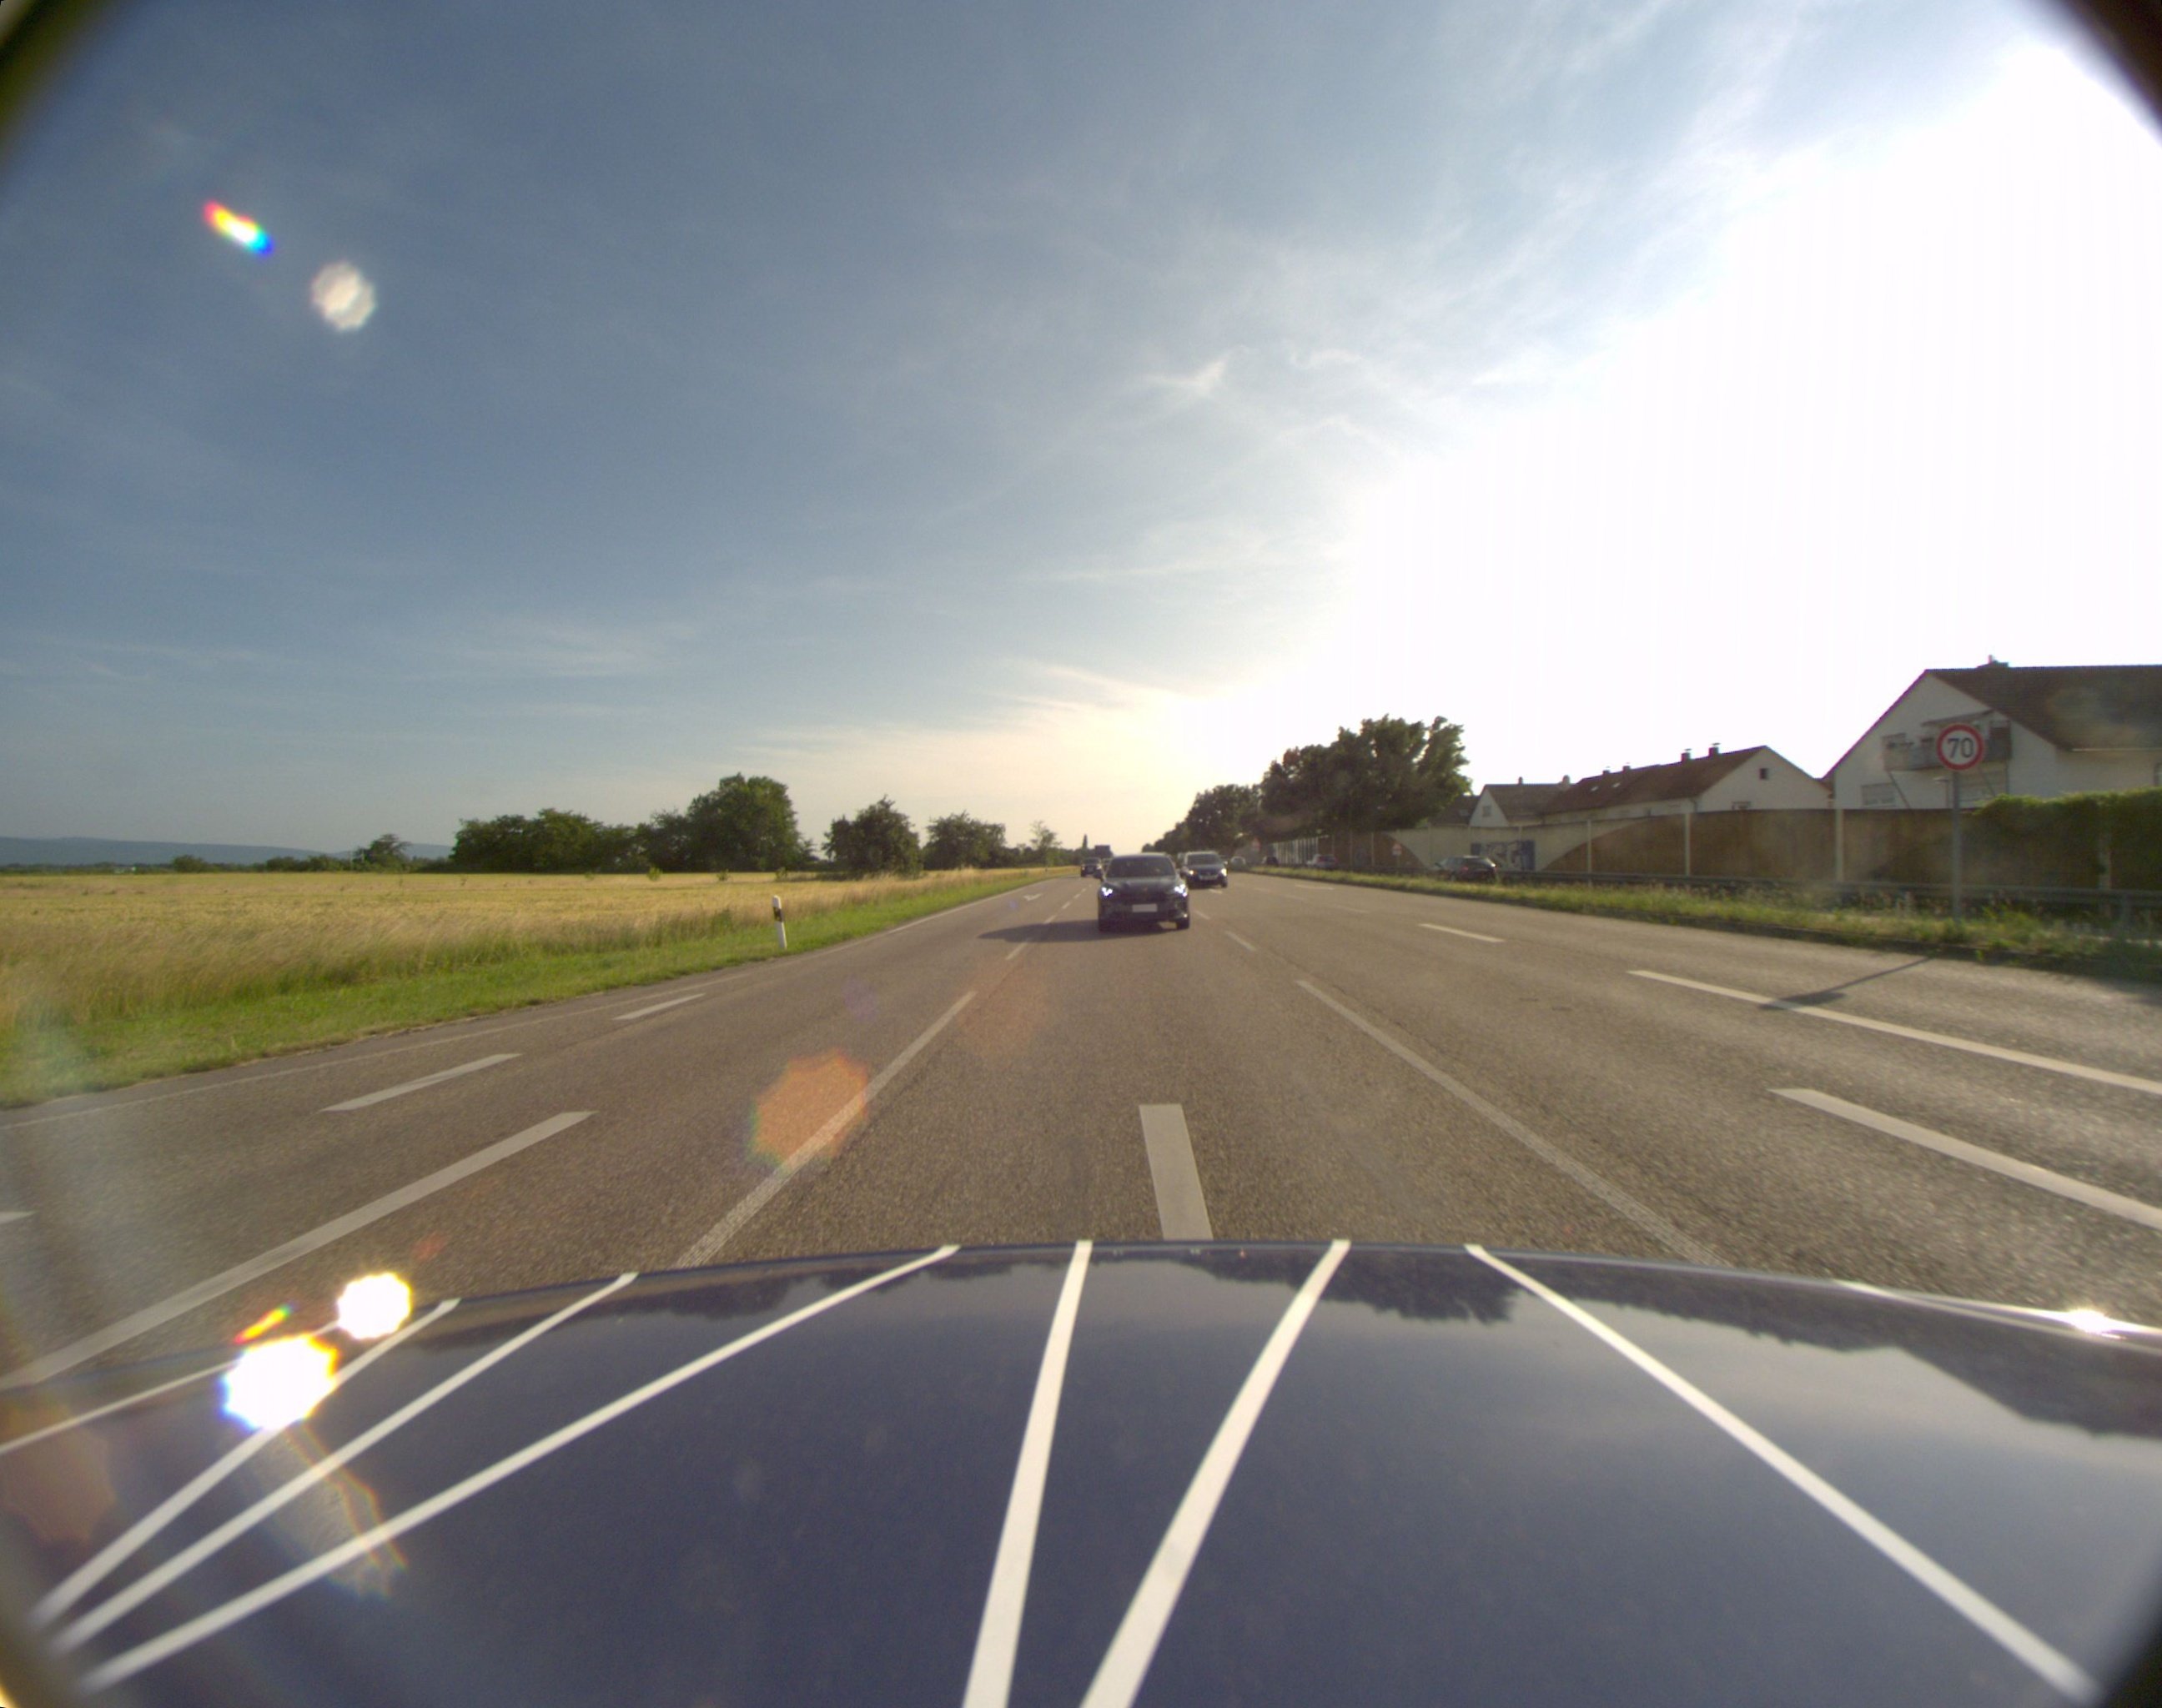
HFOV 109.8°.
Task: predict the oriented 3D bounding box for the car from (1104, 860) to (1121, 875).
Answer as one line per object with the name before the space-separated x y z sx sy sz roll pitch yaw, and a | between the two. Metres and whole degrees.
car | 3.531 1.495 85.421 1.686 1.565 3.817 -2 0 0

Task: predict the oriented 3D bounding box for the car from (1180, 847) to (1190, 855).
car | 21.168 -0.698 155.380 1.685 1.565 3.818 -2 0 3

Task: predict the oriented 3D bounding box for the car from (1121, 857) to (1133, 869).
car | 7.094 1.429 116.920 1.756 1.724 4.001 -2 0 4

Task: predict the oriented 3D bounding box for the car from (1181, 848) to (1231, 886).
car | 5.731 0.562 35.349 1.776 1.612 4.682 -1 0 3

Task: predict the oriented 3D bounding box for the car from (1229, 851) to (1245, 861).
car | 21.919 0.266 106.969 1.542 1.353 3.498 1 0 0

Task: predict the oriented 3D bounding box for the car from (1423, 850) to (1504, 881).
car | 18.696 0.530 37.357 1.793 1.375 4.554 -2 0 2

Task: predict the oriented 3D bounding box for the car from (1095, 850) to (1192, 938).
car | 1.322 0.757 16.686 1.790 1.594 4.340 -2 0 3

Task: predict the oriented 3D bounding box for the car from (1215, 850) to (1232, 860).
car | 17.905 0.071 95.571 1.634 1.215 3.504 1 1 2

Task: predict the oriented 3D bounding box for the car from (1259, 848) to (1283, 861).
car | 21.532 0.061 86.273 1.868 1.345 3.775 1 1 3

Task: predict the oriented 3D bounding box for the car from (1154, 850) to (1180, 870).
car | 6.959 0.477 61.742 1.748 1.537 4.001 -2 0 3

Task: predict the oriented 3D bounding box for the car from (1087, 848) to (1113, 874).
car | 1.589 0.559 63.563 1.998 2.002 4.000 -2 0 0

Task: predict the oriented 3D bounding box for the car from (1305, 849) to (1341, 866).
car | 20.148 0.253 63.371 1.739 1.346 4.000 -2 0 0
